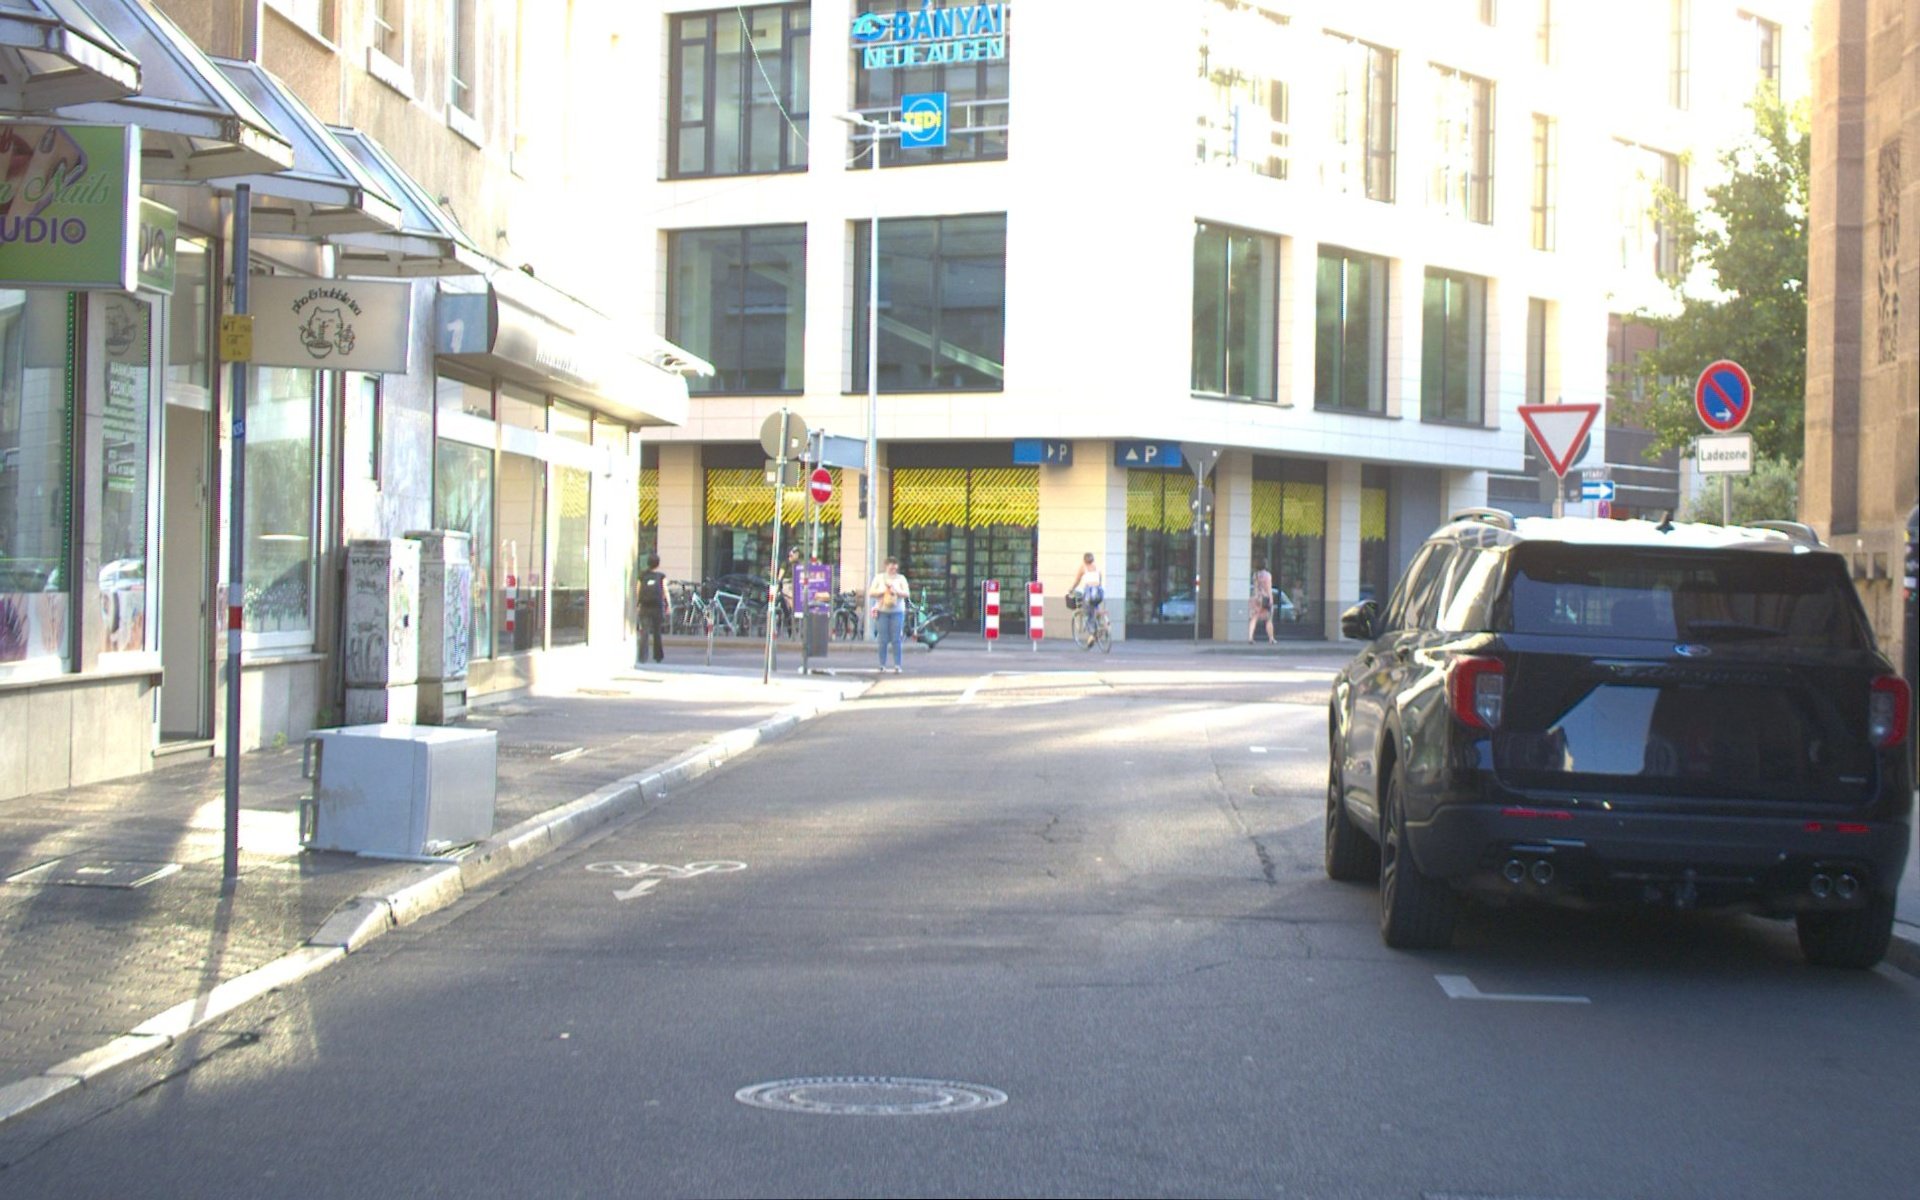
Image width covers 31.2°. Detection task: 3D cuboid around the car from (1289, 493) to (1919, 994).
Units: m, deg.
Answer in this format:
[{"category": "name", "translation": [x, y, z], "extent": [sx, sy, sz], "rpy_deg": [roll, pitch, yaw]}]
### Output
[{"category": "car", "translation": [2.650, 0.481, 14.975], "extent": [1.993, 1.777, 4.934], "rpy_deg": [1, 1, 1]}]

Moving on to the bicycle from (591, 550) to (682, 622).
[{"category": "bicycle", "translation": [-5.836, -0.240, 62.190], "extent": [0.512, 1.250, 1.975], "rpy_deg": [2, 0, 32]}]

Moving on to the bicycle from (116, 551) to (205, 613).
[{"category": "bicycle", "translation": [-16.695, -0.379, 71.797], "extent": [1.976, 1.250, 0.512], "rpy_deg": [2, 0, 31]}]

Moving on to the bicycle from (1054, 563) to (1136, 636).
[{"category": "bicycle", "translation": [2.372, -0.018, 60.639], "extent": [0.610, 1.250, 1.979], "rpy_deg": [2, 0, -24]}]

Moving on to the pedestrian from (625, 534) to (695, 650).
[{"category": "pedestrian", "translation": [-4.358, -0.121, 49.862], "extent": [0.869, 1.652, 0.619], "rpy_deg": [1, 0, -16]}]

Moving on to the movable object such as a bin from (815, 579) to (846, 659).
[{"category": "movable object such as a bin", "translation": [-1.729, 0.251, 45.973], "extent": [0.359, 1.060, 0.356], "rpy_deg": [1, 0, -8]}]

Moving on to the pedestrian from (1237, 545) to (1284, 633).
[{"category": "pedestrian", "translation": [5.985, -0.219, 68.431], "extent": [0.673, 1.738, 0.646], "rpy_deg": [2, 0, 34]}]

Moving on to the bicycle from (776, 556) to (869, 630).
[{"category": "bicycle", "translation": [-2.386, -0.114, 59.713], "extent": [0.513, 1.250, 1.975], "rpy_deg": [2, 0, 34]}]

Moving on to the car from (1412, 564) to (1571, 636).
[{"category": "car", "translation": [11.278, 0.002, 72.792], "extent": [1.781, 1.448, 4.223], "rpy_deg": [2, 1, 32]}]

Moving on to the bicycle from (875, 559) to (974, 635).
[{"category": "bicycle", "translation": [-0.597, -0.050, 58.750], "extent": [0.665, 1.250, 2.137], "rpy_deg": [2, 0, 30]}]

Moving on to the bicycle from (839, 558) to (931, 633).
[{"category": "bicycle", "translation": [-1.278, -0.074, 59.107], "extent": [0.582, 1.250, 2.041], "rpy_deg": [2, 0, 30]}]

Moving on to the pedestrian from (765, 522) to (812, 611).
[{"category": "pedestrian", "translation": [-3.336, -0.660, 66.984], "extent": [0.635, 1.717, 0.845], "rpy_deg": [1, 1, -22]}]

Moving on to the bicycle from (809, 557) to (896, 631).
[{"category": "bicycle", "translation": [-1.849, -0.095, 59.396], "extent": [0.512, 1.250, 1.975], "rpy_deg": [2, 0, 30]}]

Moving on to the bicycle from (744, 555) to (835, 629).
[{"category": "bicycle", "translation": [-2.974, -0.136, 60.197], "extent": [0.512, 1.250, 1.975], "rpy_deg": [2, 0, 32]}]

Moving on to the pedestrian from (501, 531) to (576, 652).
[{"category": "pedestrian", "translation": [-5.655, -0.116, 46.157], "extent": [0.733, 1.607, 0.804], "rpy_deg": [1, 0, 13]}]

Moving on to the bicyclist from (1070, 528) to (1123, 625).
[{"category": "bicyclist", "translation": [2.403, -0.423, 60.653], "extent": [0.682, 1.689, 0.644], "rpy_deg": [1, 1, -24]}]

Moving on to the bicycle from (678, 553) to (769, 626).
[{"category": "bicycle", "translation": [-4.187, -0.180, 60.961], "extent": [0.512, 1.250, 1.975], "rpy_deg": [2, 0, 32]}]

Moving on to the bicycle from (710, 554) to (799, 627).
[{"category": "bicycle", "translation": [-3.620, -0.159, 60.647], "extent": [0.512, 1.250, 1.975], "rpy_deg": [2, 0, 31]}]

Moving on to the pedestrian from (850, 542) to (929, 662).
[{"category": "pedestrian", "translation": [-0.960, 0.022, 46.784], "extent": [0.802, 1.607, 0.735], "rpy_deg": [1, 0, -27]}]

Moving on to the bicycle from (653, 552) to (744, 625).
[{"category": "bicycle", "translation": [-4.651, -0.197, 61.296], "extent": [0.512, 1.250, 1.975], "rpy_deg": [2, 0, 32]}]
